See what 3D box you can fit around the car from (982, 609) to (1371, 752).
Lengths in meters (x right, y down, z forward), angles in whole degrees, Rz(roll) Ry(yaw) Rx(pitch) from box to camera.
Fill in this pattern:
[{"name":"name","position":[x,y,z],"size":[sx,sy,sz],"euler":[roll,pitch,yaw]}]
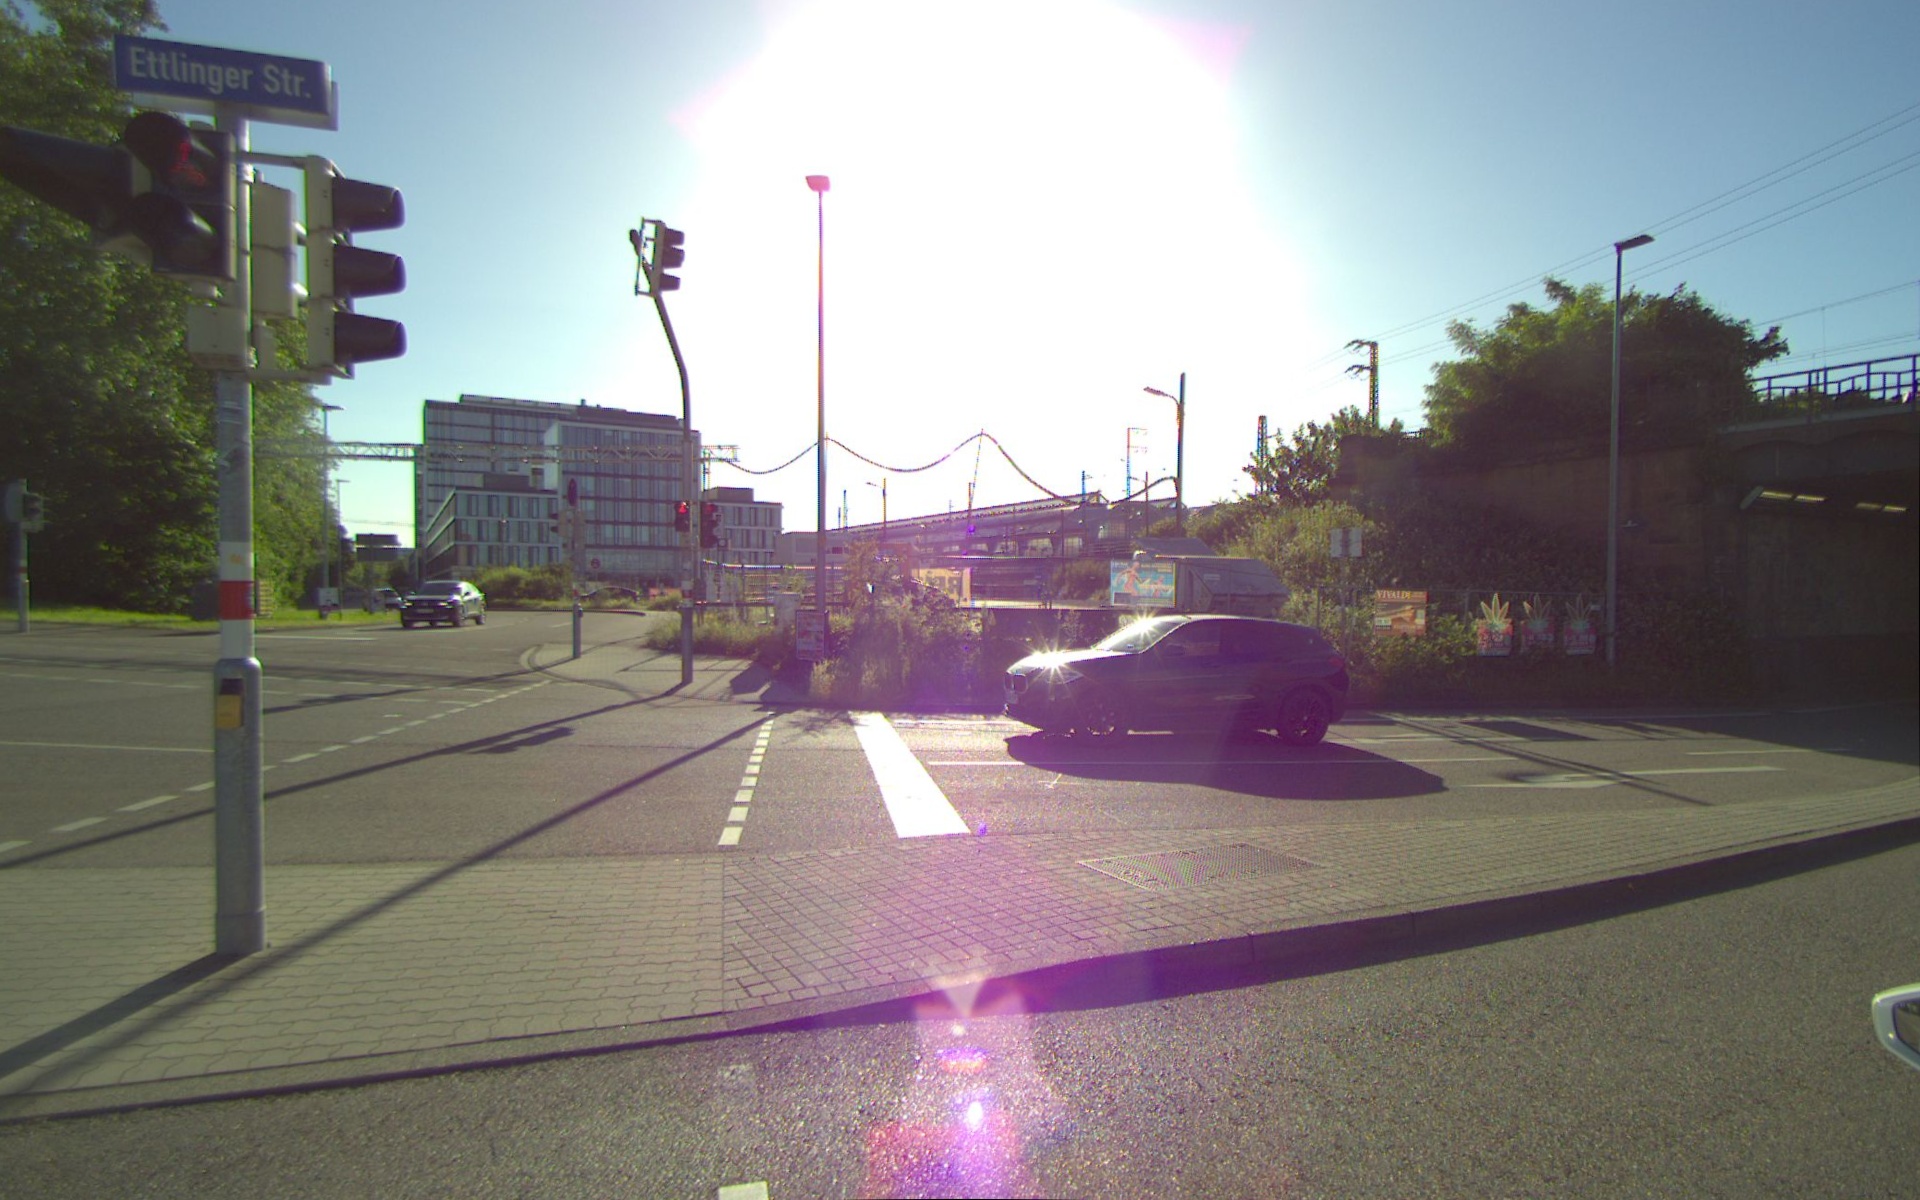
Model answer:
[{"name":"car","position":[2.623,0.943,12.483],"size":[4.315,1.538,1.950],"euler":[2,0,-16]}]

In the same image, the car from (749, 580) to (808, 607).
[{"name":"car","position":[-13.050,-0.480,72.223],"size":[3.940,1.812,1.647],"euler":[2,0,-21]}]

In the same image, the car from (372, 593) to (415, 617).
[{"name":"car","position":[-38.655,0.349,68.476],"size":[1.741,1.496,3.950],"euler":[0,1,-42]}]

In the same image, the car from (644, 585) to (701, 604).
[{"name":"car","position":[-31.280,-0.603,109.236],"size":[5.665,1.869,1.898],"euler":[1,1,-35]}]

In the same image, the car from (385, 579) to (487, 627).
[{"name":"car","position":[-17.519,0.068,33.775],"size":[1.721,1.496,3.995],"euler":[1,1,-7]}]

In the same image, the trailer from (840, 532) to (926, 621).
[{"name":"trailer","position":[-3.098,-0.937,42.188],"size":[2.946,3.336,6.668],"euler":[2,0,0]}]
